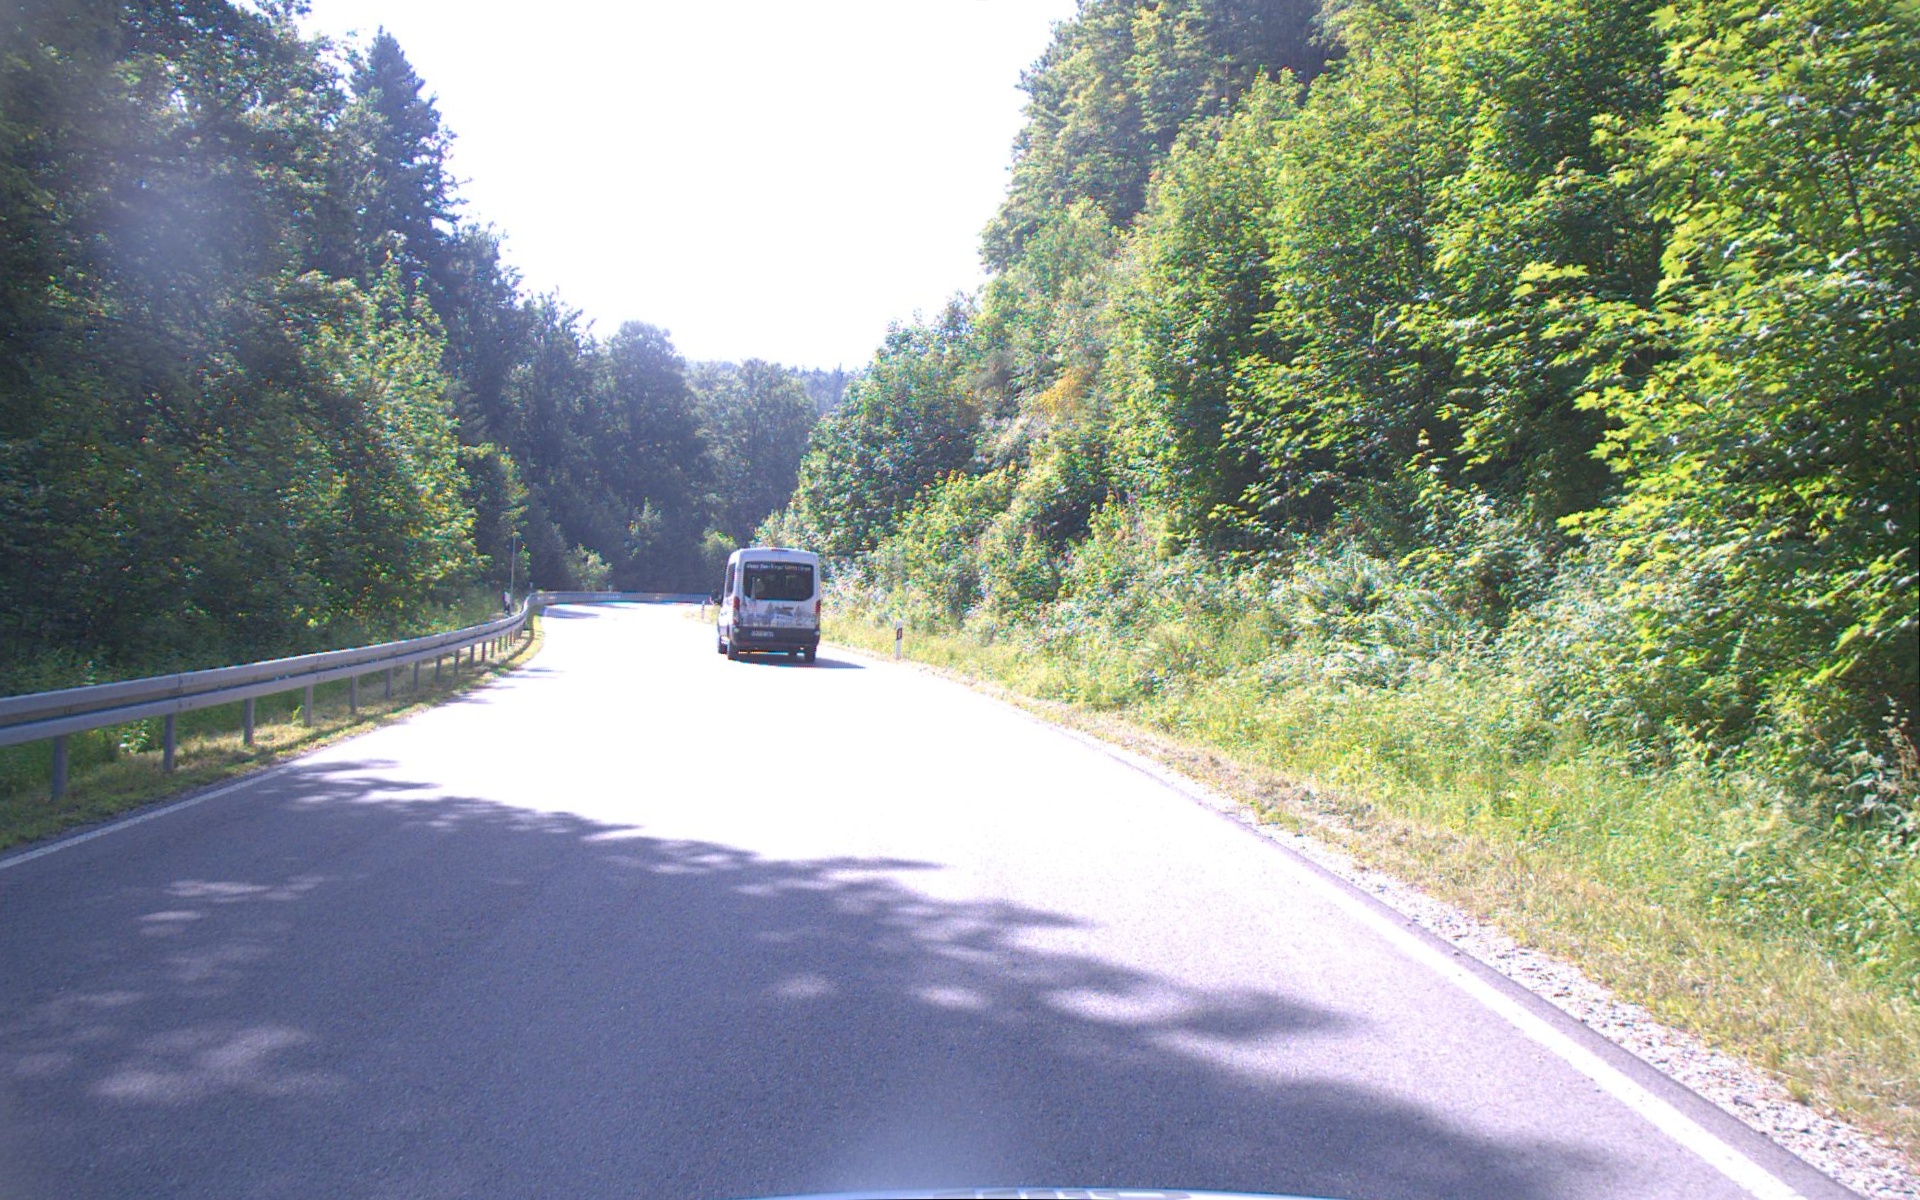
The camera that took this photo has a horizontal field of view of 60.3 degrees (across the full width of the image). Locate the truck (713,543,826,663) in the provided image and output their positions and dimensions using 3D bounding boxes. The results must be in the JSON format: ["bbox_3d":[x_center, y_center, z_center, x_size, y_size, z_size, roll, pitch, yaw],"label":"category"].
[{"bbox_3d":[-4.524,0.059,38.527,2.078,2.542,5.343,2,0,-12],"label":"truck"}]
